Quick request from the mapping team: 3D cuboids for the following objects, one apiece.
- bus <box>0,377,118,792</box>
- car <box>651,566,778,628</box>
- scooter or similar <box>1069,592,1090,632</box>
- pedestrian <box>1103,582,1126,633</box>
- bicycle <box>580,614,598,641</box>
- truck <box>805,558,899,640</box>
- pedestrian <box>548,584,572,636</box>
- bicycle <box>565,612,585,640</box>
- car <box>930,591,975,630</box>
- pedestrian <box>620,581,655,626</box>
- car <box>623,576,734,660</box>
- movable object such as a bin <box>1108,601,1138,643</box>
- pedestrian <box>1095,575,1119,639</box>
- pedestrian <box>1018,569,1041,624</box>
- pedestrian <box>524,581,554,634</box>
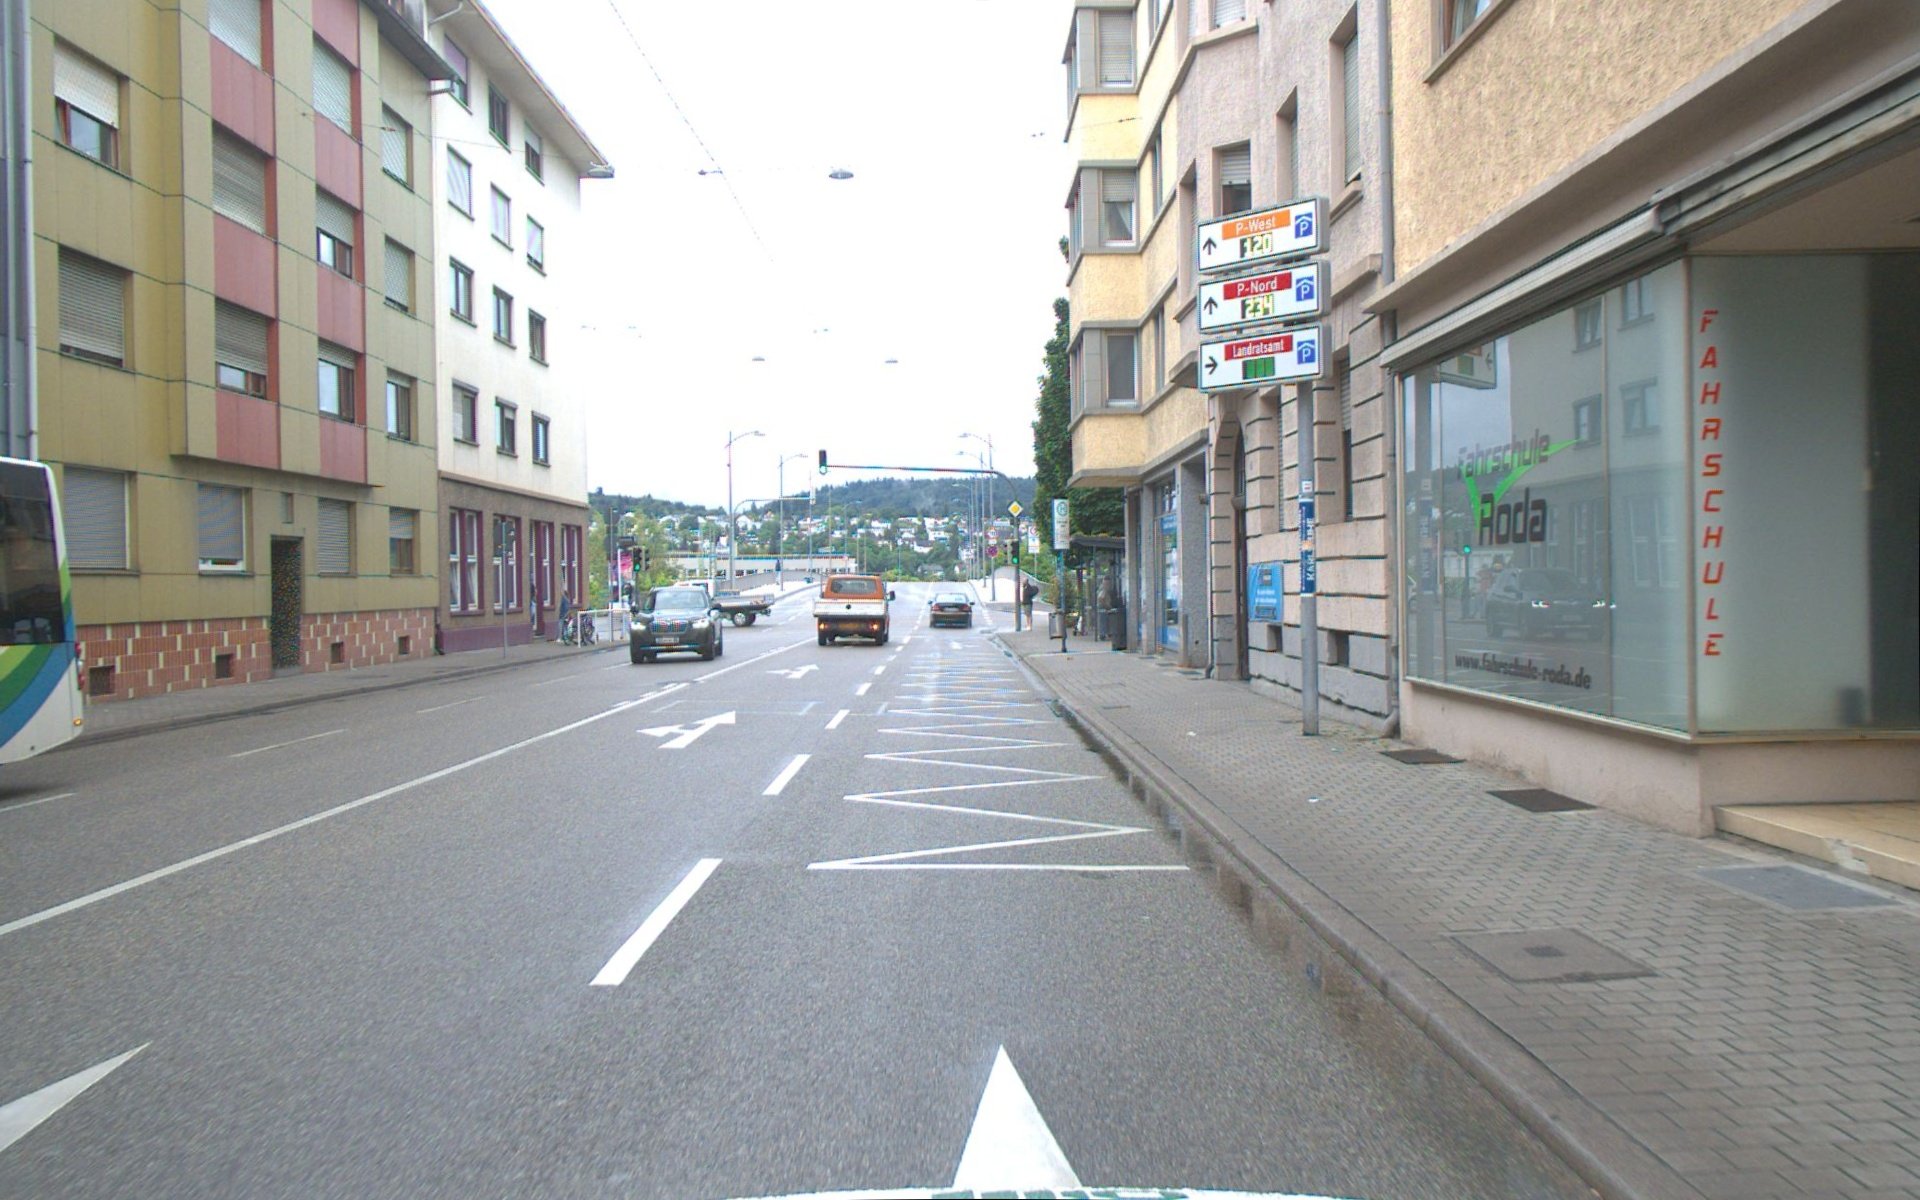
[{"bbox_3d":[-8.799,-0.097,10.006,2.670,3.244,9.291,-1,0,-1],"label":"bus"},{"bbox_3d":[-10.195,-0.127,68.923,4.888,2.392,2.001,-1,0,3],"label":"car"},{"bbox_3d":[3.633,0.366,50.263,0.500,1.193,1.549,-1,0,0],"label":"scooter or similar"},{"bbox_3d":[4.359,0.202,46.617,0.552,1.421,0.514,-1,0,-3],"label":"pedestrian"},{"bbox_3d":[-11.116,0.823,49.567,0.259,0.797,1.111,-1,0,0],"label":"bicycle"},{"bbox_3d":[-3.017,-0.026,47.490,2.351,2.167,5.314,-1,0,-1],"label":"truck"},{"bbox_3d":[-12.296,0.295,50.839,0.563,1.580,0.739,-1,0,-3],"label":"pedestrian"},{"bbox_3d":[-11.493,0.769,49.362,0.259,0.797,1.422,-1,0,0],"label":"bicycle"},{"bbox_3d":[-0.297,0.409,66.221,1.718,1.505,4.000,-1,0,0],"label":"car"},{"bbox_3d":[-14.675,0.156,75.226,0.967,2.049,1.169,-2,0,38],"label":"pedestrian"},{"bbox_3d":[-6.459,0.396,38.394,1.892,1.788,4.571,-1,0,-2],"label":"car"},{"bbox_3d":[3.693,0.496,37.424,0.588,0.942,0.704,-1,0,-1],"label":"movable object such as a bin"},{"bbox_3d":[4.029,0.184,45.412,0.606,1.729,0.656,-1,0,3],"label":"pedestrian"},{"bbox_3d":[2.414,-0.117,57.648,0.718,1.873,0.631,-1,0,-2],"label":"pedestrian"},{"bbox_3d":[-13.010,0.229,51.091,0.758,1.605,0.588,-1,0,-1],"label":"pedestrian"}]
